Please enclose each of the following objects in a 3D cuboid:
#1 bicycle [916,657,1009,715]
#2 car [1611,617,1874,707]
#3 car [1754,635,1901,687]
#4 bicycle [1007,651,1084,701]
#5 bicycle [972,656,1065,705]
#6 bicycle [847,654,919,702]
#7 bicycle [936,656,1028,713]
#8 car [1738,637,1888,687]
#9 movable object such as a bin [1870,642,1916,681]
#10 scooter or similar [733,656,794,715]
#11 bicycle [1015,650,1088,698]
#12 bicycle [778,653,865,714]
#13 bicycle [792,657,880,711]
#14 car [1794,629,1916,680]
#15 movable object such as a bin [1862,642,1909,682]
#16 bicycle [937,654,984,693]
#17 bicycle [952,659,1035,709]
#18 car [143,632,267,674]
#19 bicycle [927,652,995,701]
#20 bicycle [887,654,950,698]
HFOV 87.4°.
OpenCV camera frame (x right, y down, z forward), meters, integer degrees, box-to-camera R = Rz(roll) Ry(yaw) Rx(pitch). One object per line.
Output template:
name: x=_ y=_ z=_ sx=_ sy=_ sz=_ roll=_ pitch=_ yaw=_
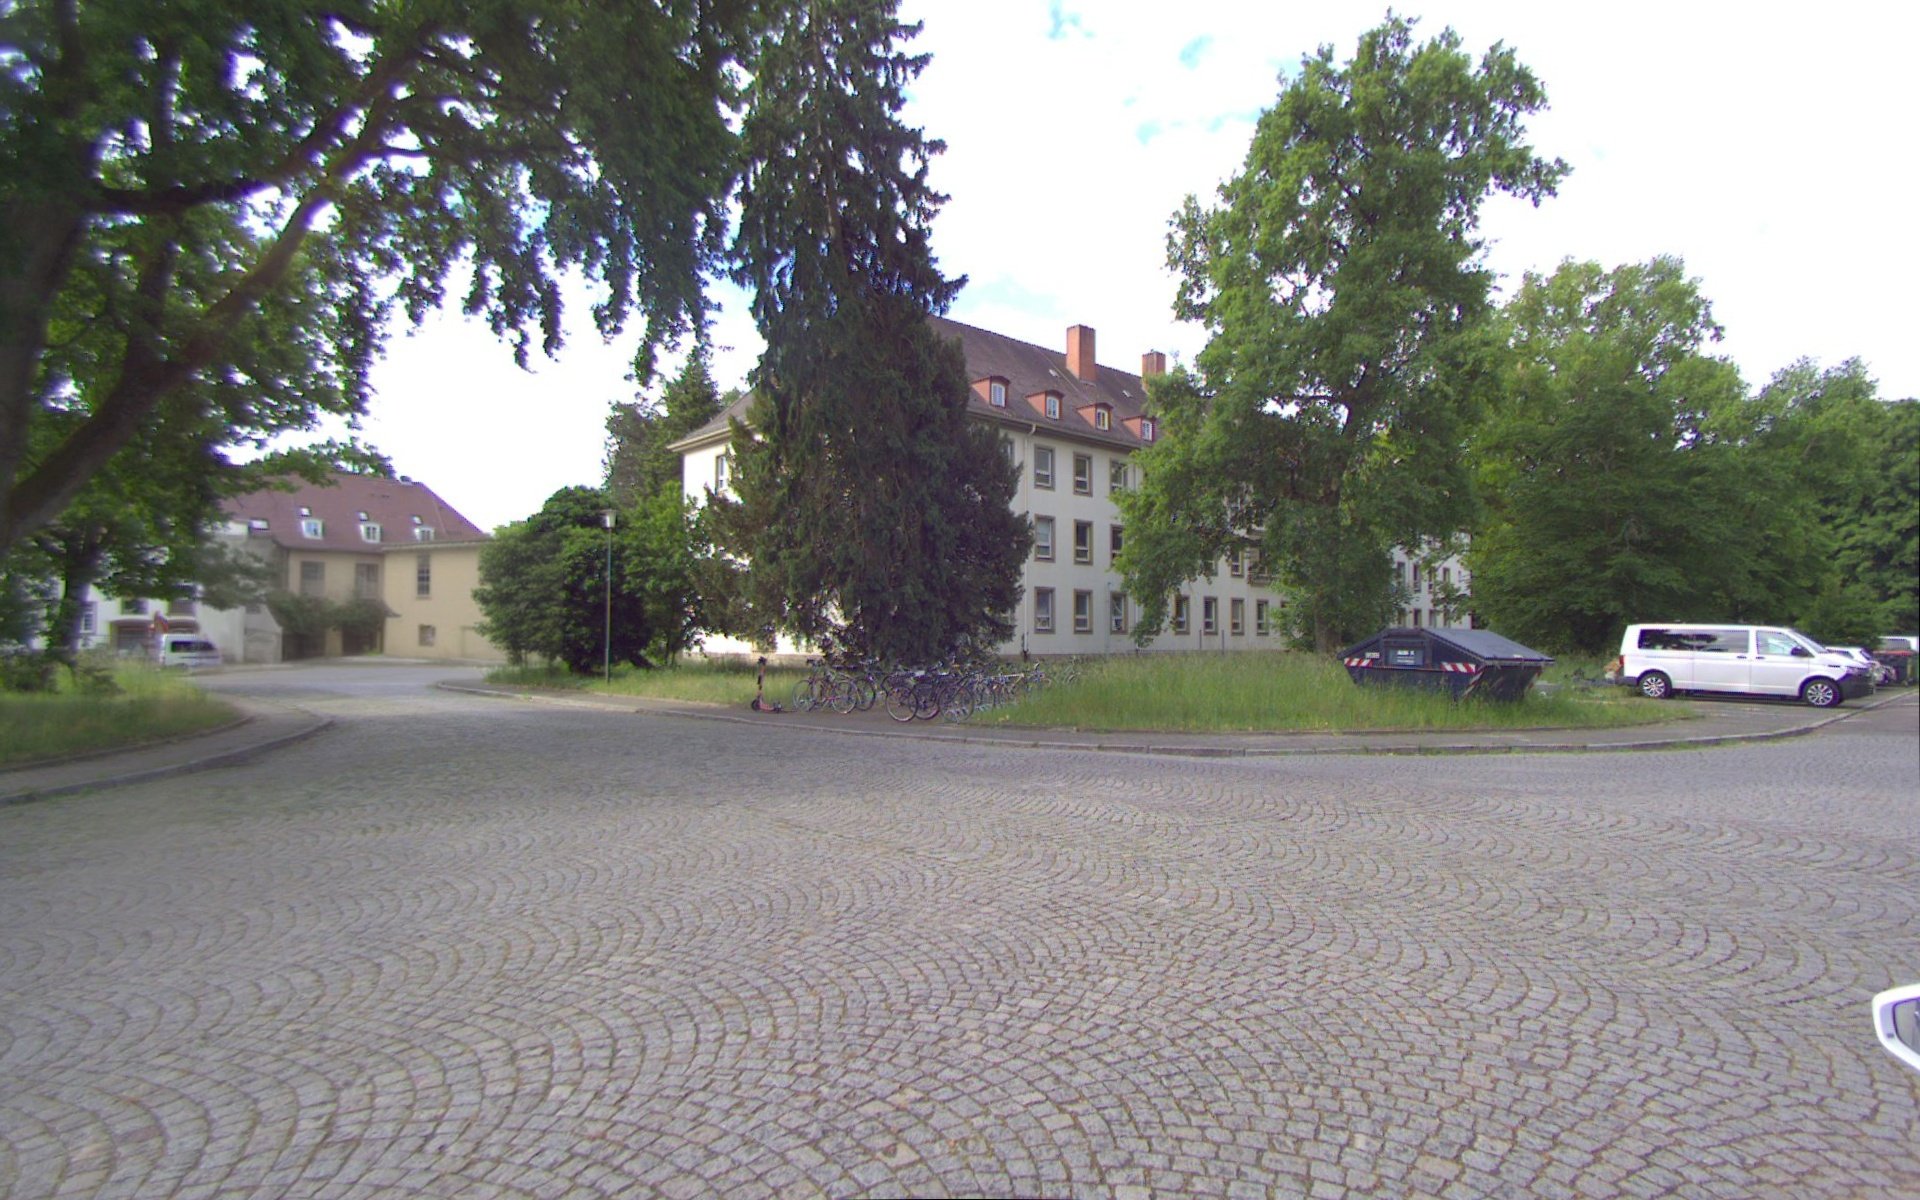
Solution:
bicycle: x=0.042 y=1.742 z=20.416 sx=1.742 sy=1.118 sz=0.701 roll=-3 pitch=-1 yaw=29
car: x=20.181 y=1.526 z=26.105 sx=2.173 sy=2.087 sz=5.152 roll=3 pitch=-2 yaw=-43
car: x=31.059 y=2.143 z=36.037 sx=1.747 sy=1.613 sz=3.656 roll=3 pitch=-1 yaw=-35
bicycle: x=2.048 y=1.822 z=24.071 sx=1.745 sy=1.120 sz=0.541 roll=-3 pitch=-1 yaw=29
bicycle: x=1.294 y=1.801 z=22.417 sx=1.925 sy=1.018 sz=0.685 roll=-3 pitch=-1 yaw=29
bicycle: x=-1.841 y=1.849 z=24.010 sx=1.597 sy=1.088 sz=0.539 roll=-1 pitch=0 yaw=18
bicycle: x=0.464 y=1.760 z=20.998 sx=1.767 sy=1.118 sz=0.701 roll=-3 pitch=-1 yaw=29
car: x=29.392 y=2.109 z=34.688 sx=1.802 sy=1.500 sz=3.605 roll=3 pitch=-1 yaw=-34
movable object such as a bin: x=35.520 y=2.337 z=38.224 sx=0.968 sy=1.426 sz=1.173 roll=3 pitch=-1 yaw=-42
scooter or similar: x=-4.322 y=1.853 z=22.028 sx=0.676 sy=1.210 sz=1.536 roll=0 pitch=-3 yaw=-38
bicycle: x=2.240 y=1.814 z=24.597 sx=1.672 sy=1.131 sz=0.541 roll=-3 pitch=-1 yaw=29
bicycle: x=-3.028 y=1.793 z=21.947 sx=1.867 sy=1.239 sz=0.642 roll=-1 pitch=0 yaw=29
bicycle: x=-2.801 y=1.866 z=22.592 sx=1.956 sy=1.129 sz=0.642 roll=-1 pitch=0 yaw=29
car: x=39.883 y=2.390 z=44.821 sx=3.945 sy=2.040 sz=1.910 roll=2 pitch=-1 yaw=44
movable object such as a bin: x=34.595 y=2.301 z=37.554 sx=0.968 sy=1.426 sz=1.173 roll=3 pitch=-1 yaw=-42
bicycle: x=0.003 y=2.016 z=27.538 sx=1.240 sy=1.042 sz=0.433 roll=-3 pitch=-5 yaw=29
bicycle: x=0.721 y=1.815 z=21.709 sx=1.666 sy=1.015 sz=0.631 roll=-3 pitch=-1 yaw=29
car: x=-43.401 y=3.064 z=57.809 sx=5.493 sy=2.236 sz=2.099 roll=3 pitch=-1 yaw=-43
bicycle: x=0.015 y=1.937 z=25.525 sx=1.612 sy=1.201 sz=0.574 roll=-1 pitch=0 yaw=22
bicycle: x=-1.043 y=1.904 z=25.273 sx=1.486 sy=1.049 sz=0.545 roll=-1 pitch=0 yaw=18
